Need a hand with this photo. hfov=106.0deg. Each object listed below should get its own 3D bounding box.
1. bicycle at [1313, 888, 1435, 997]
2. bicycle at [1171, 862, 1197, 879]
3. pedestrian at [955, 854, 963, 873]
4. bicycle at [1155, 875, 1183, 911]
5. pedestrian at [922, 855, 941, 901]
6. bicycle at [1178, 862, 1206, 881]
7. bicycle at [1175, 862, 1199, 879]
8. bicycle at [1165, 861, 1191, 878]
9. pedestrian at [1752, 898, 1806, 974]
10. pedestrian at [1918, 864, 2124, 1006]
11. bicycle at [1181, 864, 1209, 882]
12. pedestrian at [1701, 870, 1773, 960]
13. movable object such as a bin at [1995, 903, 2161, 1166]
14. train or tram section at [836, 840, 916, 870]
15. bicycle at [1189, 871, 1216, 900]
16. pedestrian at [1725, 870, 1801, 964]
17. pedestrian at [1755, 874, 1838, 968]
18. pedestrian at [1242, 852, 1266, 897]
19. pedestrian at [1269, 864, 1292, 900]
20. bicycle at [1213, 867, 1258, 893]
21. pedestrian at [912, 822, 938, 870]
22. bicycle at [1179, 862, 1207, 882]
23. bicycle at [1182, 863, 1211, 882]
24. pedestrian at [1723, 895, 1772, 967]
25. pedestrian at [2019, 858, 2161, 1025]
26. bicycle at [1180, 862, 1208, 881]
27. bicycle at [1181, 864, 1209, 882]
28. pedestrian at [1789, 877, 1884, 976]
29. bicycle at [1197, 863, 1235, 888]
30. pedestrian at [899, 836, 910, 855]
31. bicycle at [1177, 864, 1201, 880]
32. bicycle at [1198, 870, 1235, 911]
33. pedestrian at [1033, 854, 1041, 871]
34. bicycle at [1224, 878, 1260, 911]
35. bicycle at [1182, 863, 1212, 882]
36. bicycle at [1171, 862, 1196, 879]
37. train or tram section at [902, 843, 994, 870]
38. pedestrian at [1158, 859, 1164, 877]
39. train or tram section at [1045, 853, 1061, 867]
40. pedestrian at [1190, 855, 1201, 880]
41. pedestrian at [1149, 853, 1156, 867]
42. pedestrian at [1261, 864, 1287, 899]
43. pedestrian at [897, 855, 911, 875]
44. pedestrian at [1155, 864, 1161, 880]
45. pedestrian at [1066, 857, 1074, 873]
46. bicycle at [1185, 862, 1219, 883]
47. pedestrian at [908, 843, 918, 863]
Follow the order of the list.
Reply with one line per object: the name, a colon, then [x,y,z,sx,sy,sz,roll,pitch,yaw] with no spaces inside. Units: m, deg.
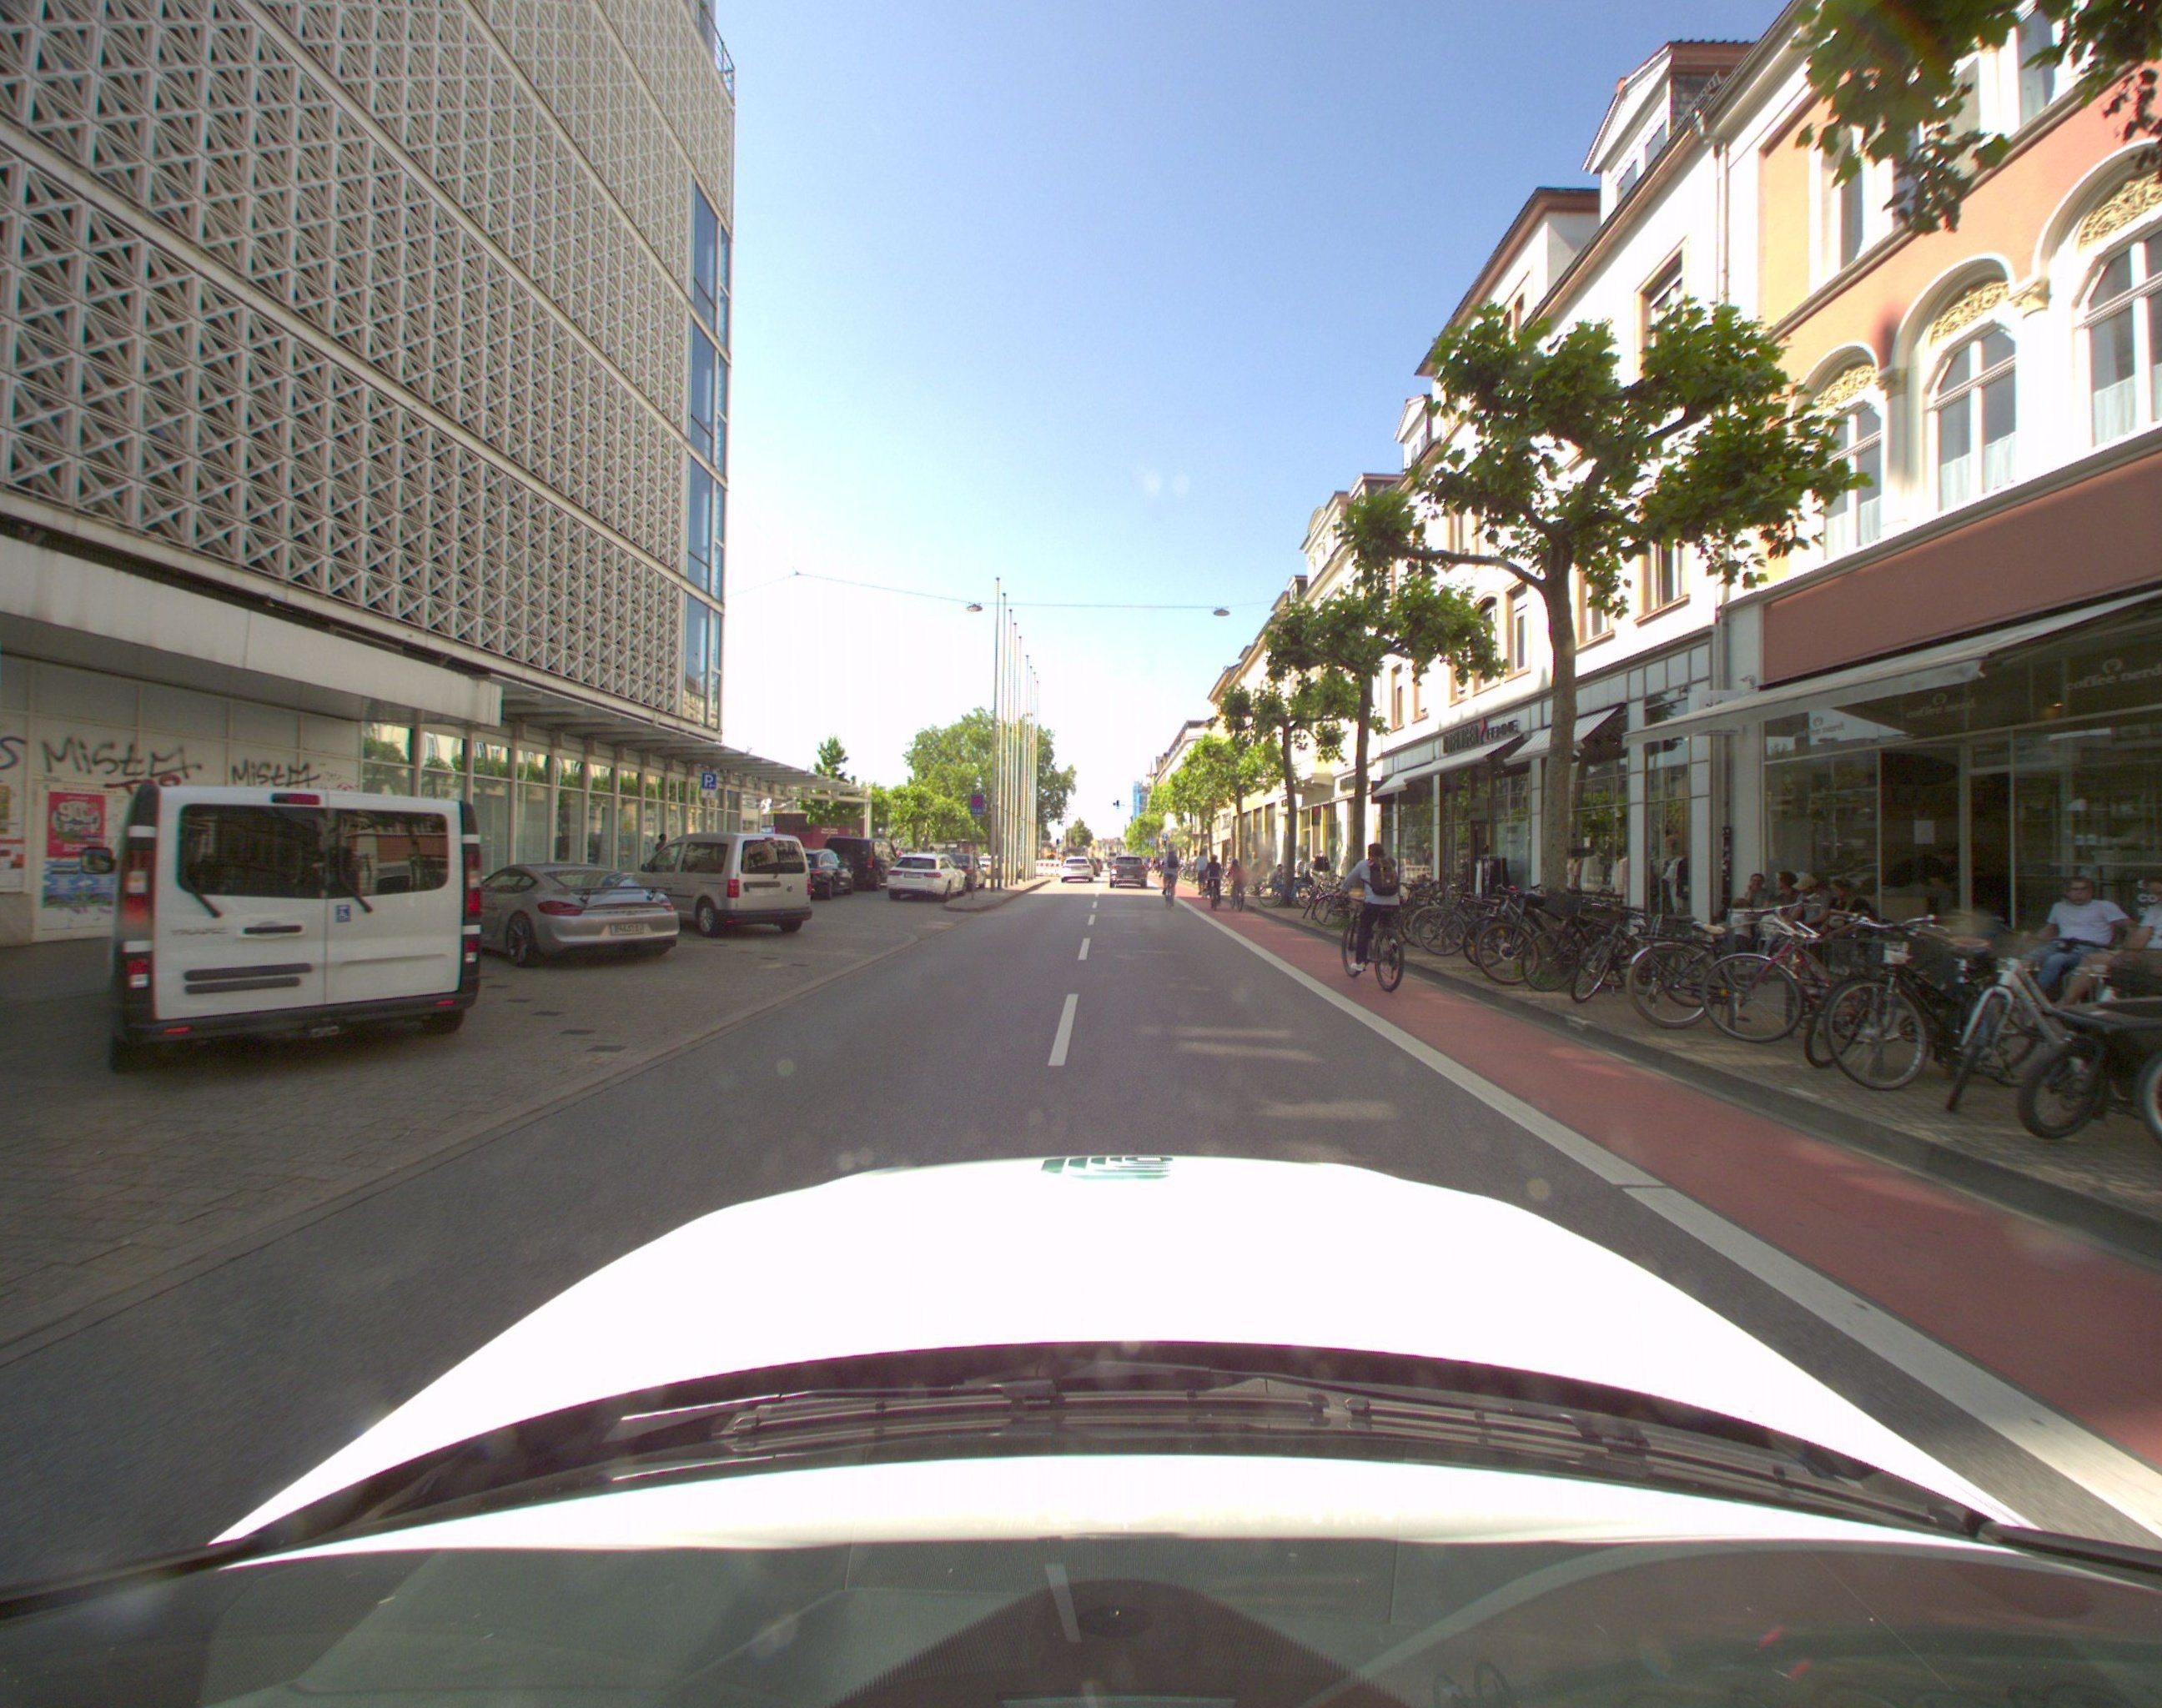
bicycle: [3.553,1.025,10.089,0.696,1.127,2.080,2,-1,-2]
bicycle: [7.439,1.194,59.085,1.835,1.201,0.545,1,-1,4]
pedestrian: [-11.159,0.893,74.552,0.581,1.722,0.790,1,-4,3]
bicycle: [2.550,1.112,23.694,0.628,0.980,2.089,1,-1,1]
pedestrian: [-5.952,0.946,32.439,0.526,1.792,0.542,0,-1,41]
bicycle: [7.162,1.140,52.646,1.721,1.217,0.478,1,-1,4]
bicycle: [7.508,1.186,57.864,1.642,1.201,0.475,1,-1,4]
bicycle: [7.612,1.215,64.004,1.937,1.257,0.701,1,-1,-18]
pedestrian: [9.312,1.086,10.874,0.363,0.968,0.437,1,0,3]
pedestrian: [9.838,0.820,8.567,1.229,1.422,0.789,0,-2,-1]
bicycle: [7.216,1.197,51.558,1.721,1.109,0.478,1,-1,4]
pedestrian: [10.039,0.915,12.484,0.679,1.333,0.531,1,0,-1]
movable object such as a bin: [5.852,0.897,3.924,1.836,1.189,0.656,2,0,17]
train or tram section: [-26.884,0.197,107.576,2.588,3.677,11.071,0,-1,37]
bicycle: [4.564,1.150,30.675,0.771,1.006,2.330,0,0,2]
pedestrian: [9.941,0.902,11.888,0.679,1.338,0.531,0,0,-1]
pedestrian: [9.952,0.924,11.343,0.679,1.253,0.531,-1,0,-1]
pedestrian: [6.675,0.777,31.419,0.637,1.689,0.843,3,0,-1]
pedestrian: [7.113,0.994,29.079,0.637,1.233,0.596,2,-2,-1]
bicycle: [6.672,1.113,35.186,1.830,1.097,0.795,1,-1,6]
pedestrian: [-6.012,-0.305,31.391,0.612,1.792,0.697,0,-1,41]
bicycle: [7.146,1.124,51.922,1.721,1.217,0.478,1,-1,4]
bicycle: [7.178,1.145,50.725,1.721,1.109,0.403,1,-1,4]
pedestrian: [9.435,1.078,11.538,0.339,0.968,0.437,1,0,3]
pedestrian: [9.967,0.794,7.702,1.248,1.483,0.837,1,-1,-1]
bicycle: [7.363,1.151,53.133,1.721,1.217,0.478,1,-1,4]
bicycle: [7.167,1.177,51.140,1.721,1.109,0.403,1,-1,4]
pedestrian: [9.946,0.940,10.744,0.637,1.253,0.608,-1,-2,-1]
bicycle: [6.824,1.101,41.295,1.830,1.186,0.671,2,-1,6]
pedestrian: [-17.003,-0.801,78.367,0.598,1.749,0.808,-1,-2,33]
bicycle: [7.462,1.229,56.340,1.642,1.095,0.607,1,-1,4]
bicycle: [4.029,1.073,24.380,0.696,1.127,2.080,2,-1,-2]
pedestrian: [-4.827,0.942,88.863,0.627,1.810,0.735,0,-1,23]
bicycle: [4.751,1.192,24.119,0.598,0.926,2.086,1,-2,-1]
bicycle: [7.099,1.147,49.874,1.721,1.109,0.737,1,-1,4]
bicycle: [7.492,1.205,59.590,1.835,1.201,0.609,1,-1,4]
train or tram section: [-18.999,0.416,118.093,2.588,3.677,15.645,0,-1,37]
pedestrian: [7.620,1.342,77.713,0.546,1.631,0.589,-1,-1,5]
train or tram section: [-7.042,1.594,208.760,2.600,3.348,11.017,1,0,5]
pedestrian: [7.408,0.852,52.855,0.612,1.612,0.745,1,-1,3]
pedestrian: [7.495,0.636,85.371,0.608,1.515,0.677,-4,-1,0]
pedestrian: [7.022,1.015,29.674,0.785,1.243,0.576,2,-2,-1]
pedestrian: [-12.772,0.798,58.724,0.667,1.381,0.900,1,-1,10]
pedestrian: [7.548,1.794,80.120,0.520,1.521,0.642,-1,-1,5]
pedestrian: [-1.121,1.148,82.921,0.627,1.595,0.690,0,-1,23]
bicycle: [7.185,1.092,48.390,1.923,1.248,0.737,1,-1,4]
pedestrian: [-14.782,-0.107,71.597,0.573,1.739,0.607,2,-1,7]
